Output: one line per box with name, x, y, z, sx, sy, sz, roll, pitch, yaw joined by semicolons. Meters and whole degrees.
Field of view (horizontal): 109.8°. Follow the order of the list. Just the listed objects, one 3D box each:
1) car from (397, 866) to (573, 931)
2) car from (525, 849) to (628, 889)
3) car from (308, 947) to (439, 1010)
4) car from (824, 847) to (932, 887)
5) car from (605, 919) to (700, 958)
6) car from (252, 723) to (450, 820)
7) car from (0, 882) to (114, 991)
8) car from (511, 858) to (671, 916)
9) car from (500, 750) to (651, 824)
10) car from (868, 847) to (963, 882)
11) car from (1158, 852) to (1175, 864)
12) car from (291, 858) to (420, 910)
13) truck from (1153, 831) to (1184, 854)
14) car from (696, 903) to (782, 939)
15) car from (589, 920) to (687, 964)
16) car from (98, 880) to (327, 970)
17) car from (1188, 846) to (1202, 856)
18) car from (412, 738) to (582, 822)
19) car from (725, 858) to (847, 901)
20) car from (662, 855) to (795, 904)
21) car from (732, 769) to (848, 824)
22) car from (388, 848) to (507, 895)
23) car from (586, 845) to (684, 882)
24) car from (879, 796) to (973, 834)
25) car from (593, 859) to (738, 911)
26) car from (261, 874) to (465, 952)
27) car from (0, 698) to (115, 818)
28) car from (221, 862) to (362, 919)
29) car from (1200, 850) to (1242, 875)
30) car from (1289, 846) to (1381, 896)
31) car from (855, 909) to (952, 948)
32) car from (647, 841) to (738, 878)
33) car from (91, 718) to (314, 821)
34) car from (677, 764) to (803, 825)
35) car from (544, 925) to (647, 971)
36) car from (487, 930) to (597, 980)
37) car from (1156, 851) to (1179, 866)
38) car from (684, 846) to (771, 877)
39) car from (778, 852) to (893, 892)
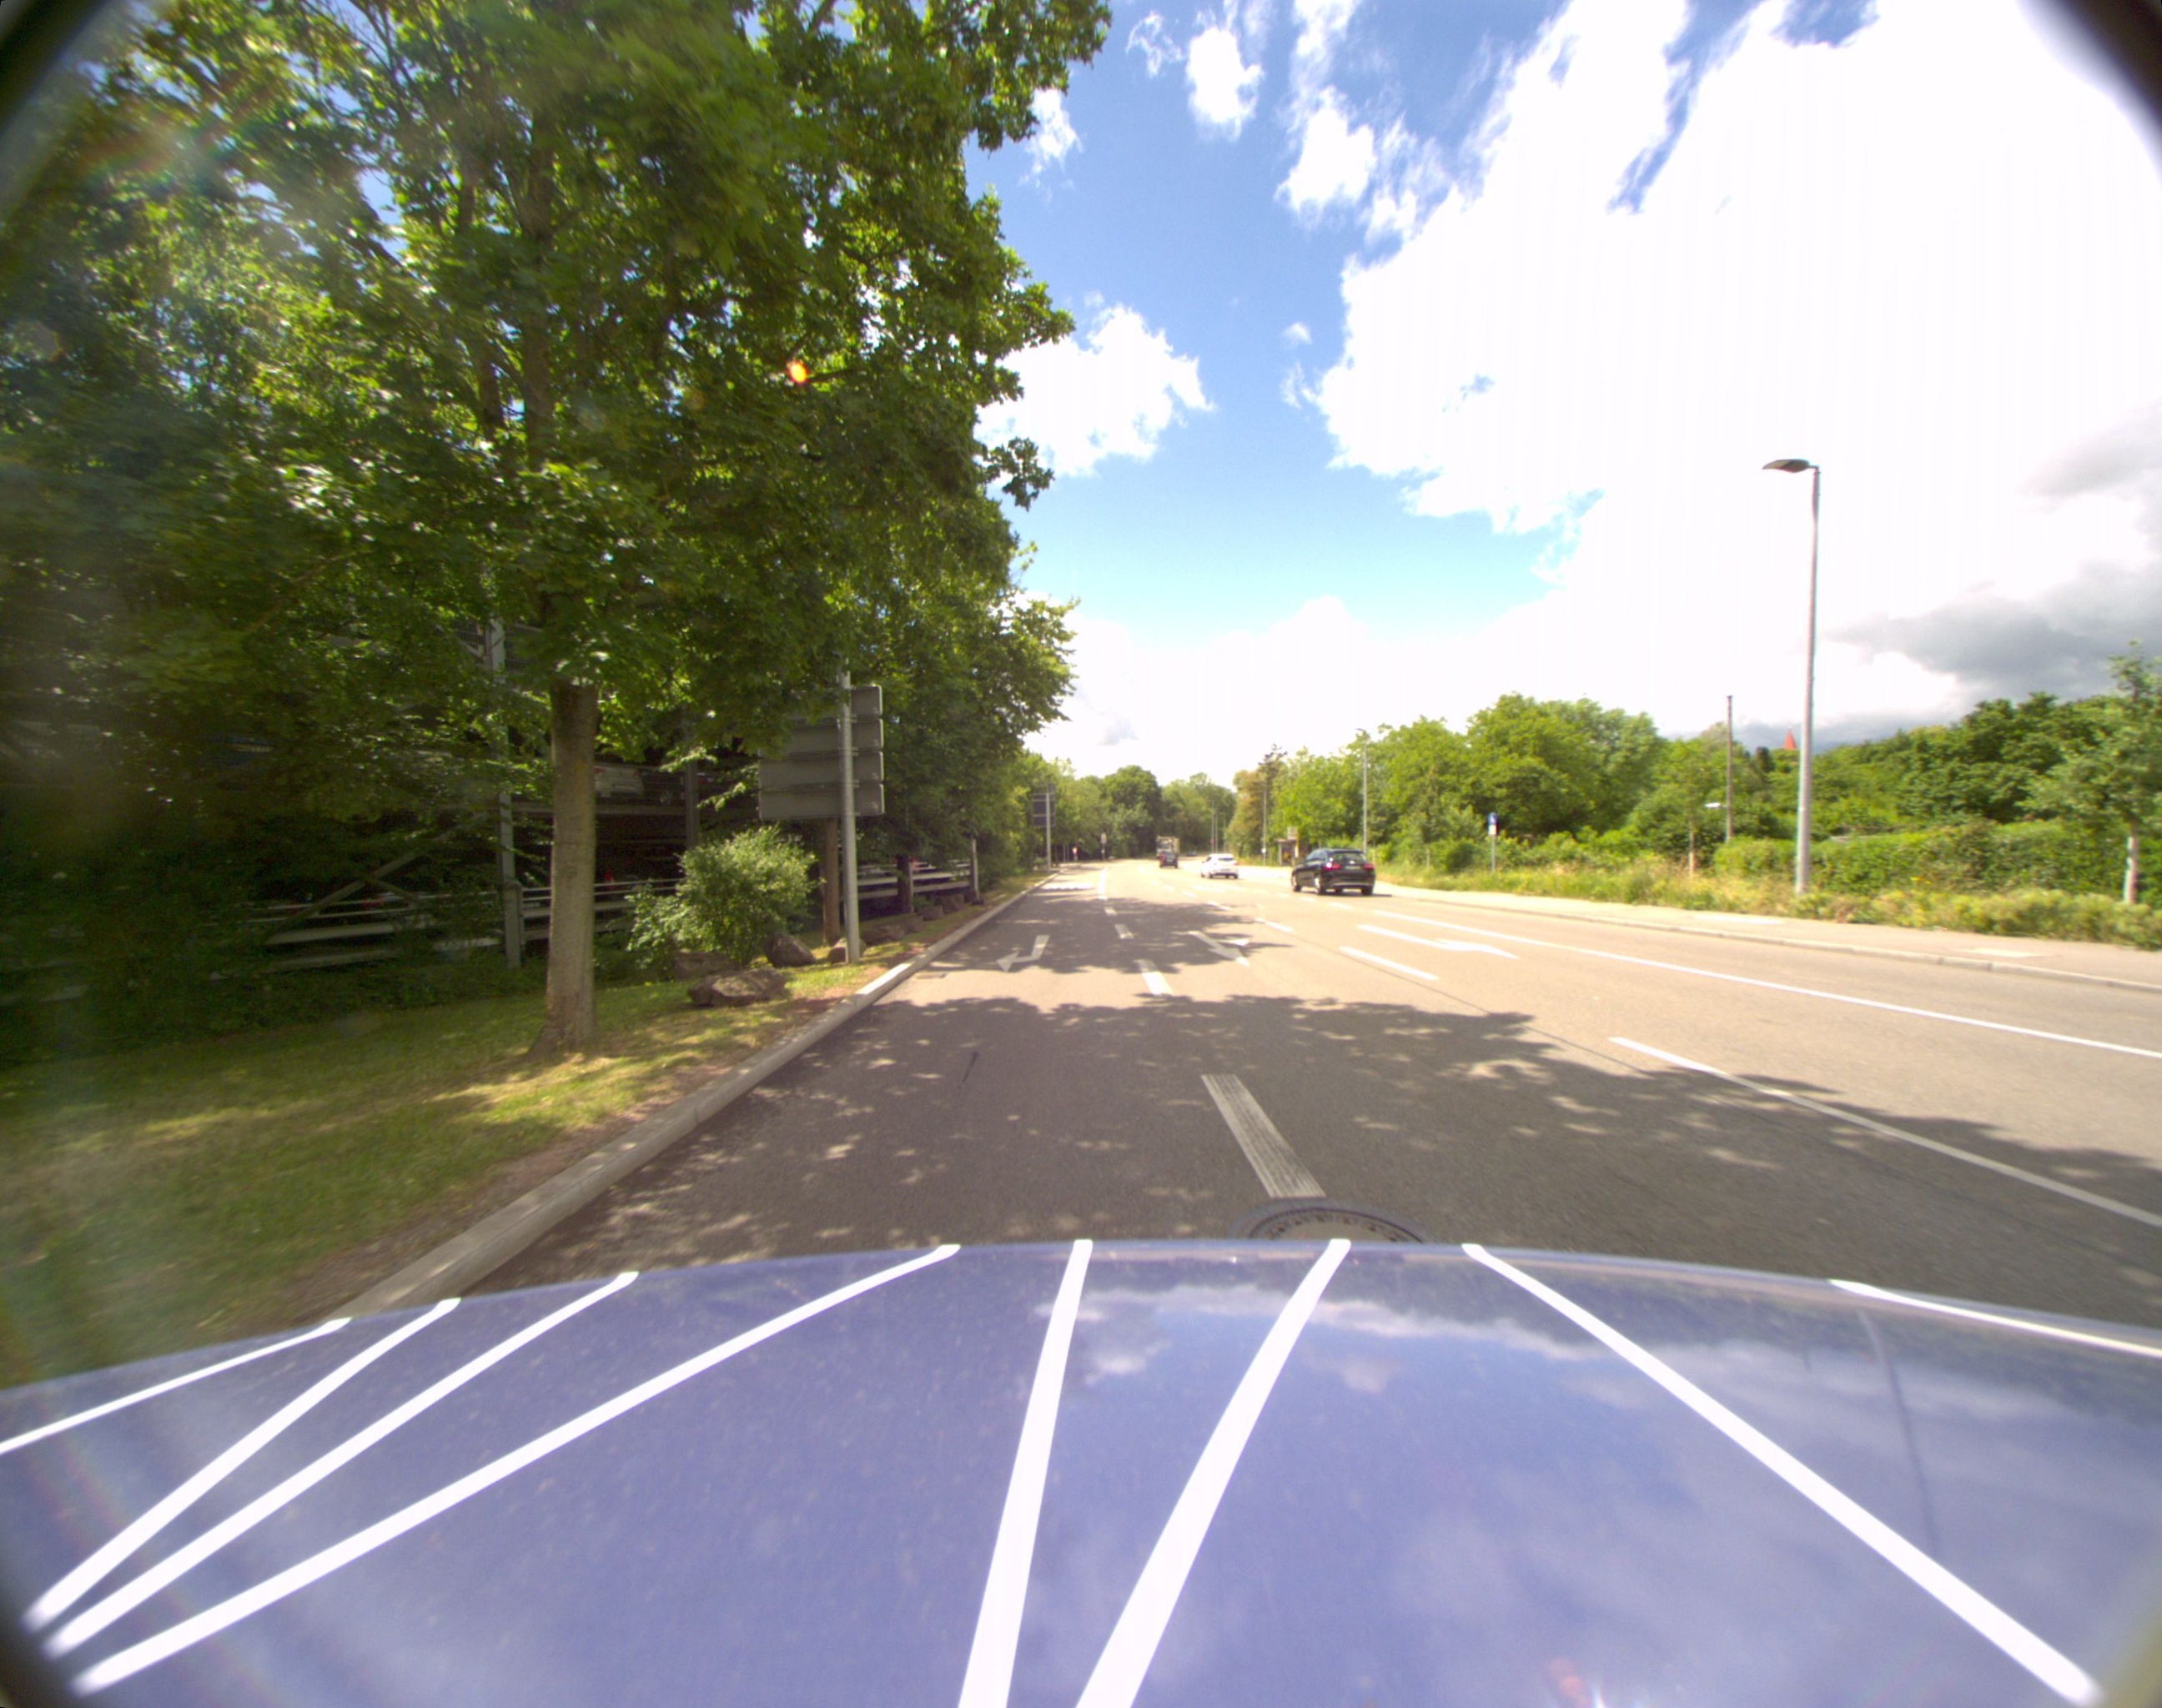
car;-14.304;1.013;18.233;3.848;1.384;1.698;-1;1;25
car;-20.494;0.577;30.874;3.847;1.477;1.698;1;2;24
car;-22.646;3.910;24.326;3.847;1.439;1.698;1;2;24
car;-8.133;0.506;30.533;3.848;1.506;1.840;-1;1;24
car;-18.915;3.702;33.522;3.847;1.304;1.682;1;2;24
car;-14.713;-1.559;15.306;3.694;1.553;1.662;-1;-1;25
car;-16.922;1.211;11.636;3.848;1.481;1.698;-1;1;25
car;-12.977;0.841;20.128;3.848;1.384;1.698;-1;1;25
car;-13.476;-1.713;20.245;3.694;1.610;1.662;-1;-1;25
car;-7.122;0.458;32.681;3.694;1.404;1.662;-1;1;25
car;10.863;0.497;96.651;1.827;1.548;4.630;1;0;2
car;-23.626;0.918;24.740;3.847;1.477;1.698;1;2;24
truck;15.094;-2.056;130.374;3.236;3.839;9.885;1;2;18
car;-16.851;3.275;37.424;3.847;1.417;1.756;1;2;24
car;-18.962;3.727;32.536;3.847;1.439;1.698;1;2;24
car;-16.008;1.224;13.998;3.848;1.384;1.698;-1;1;25
car;23.509;-0.638;157.033;1.995;2.002;4.005;1;2;21
car;-13.710;-1.651;17.832;3.694;1.610;1.662;-1;-1;25
car;-10.250;0.862;26.379;3.848;1.384;1.698;-1;1;25
car;-11.151;0.782;24.042;3.848;1.384;1.698;-1;1;25
car;-10.165;-1.949;26.522;3.694;1.631;1.662;-1;-1;25
car;-22.370;0.570;26.816;3.847;1.477;1.698;1;2;24
car;-19.328;0.360;32.925;3.847;1.477;1.756;1;2;24
car;-6.652;-1.615;32.575;3.694;1.403;1.662;-1;-1;25
car;-12.163;0.876;22.233;3.848;1.384;1.698;-1;1;25
car;-14.888;1.152;15.748;3.848;1.384;1.698;-1;1;25
car;-16.897;-1.421;11.692;3.694;1.532;1.730;-1;-1;25
car;-23.486;1.036;22.601;3.847;1.477;1.698;1;2;24
car;8.483;0.461;46.241;1.771;1.434;3.899;0;1;-1
car;8.998;0.537;27.326;1.825;1.644;4.532;0;0;1
car;-7.777;3.231;33.357;3.726;1.444;1.839;-1;1;23
car;-18.173;0.229;35.537;3.847;1.636;1.756;1;2;24
car;-15.612;-1.396;13.500;3.694;1.422;1.662;-1;-1;25
car;-10.844;-1.829;24.155;3.694;1.610;1.662;-1;-1;25
car;-19.704;3.765;30.834;3.847;1.439;1.698;1;2;24
car;-20.576;3.806;28.993;3.847;1.439;1.698;1;2;24
car;8.685;0.442;76.533;1.771;1.434;4.376;0;1;-1
car;-17.358;0.331;37.306;3.847;1.434;1.756;1;2;24
car;-9.186;0.668;28.410;3.847;1.384;1.816;-1;1;25
